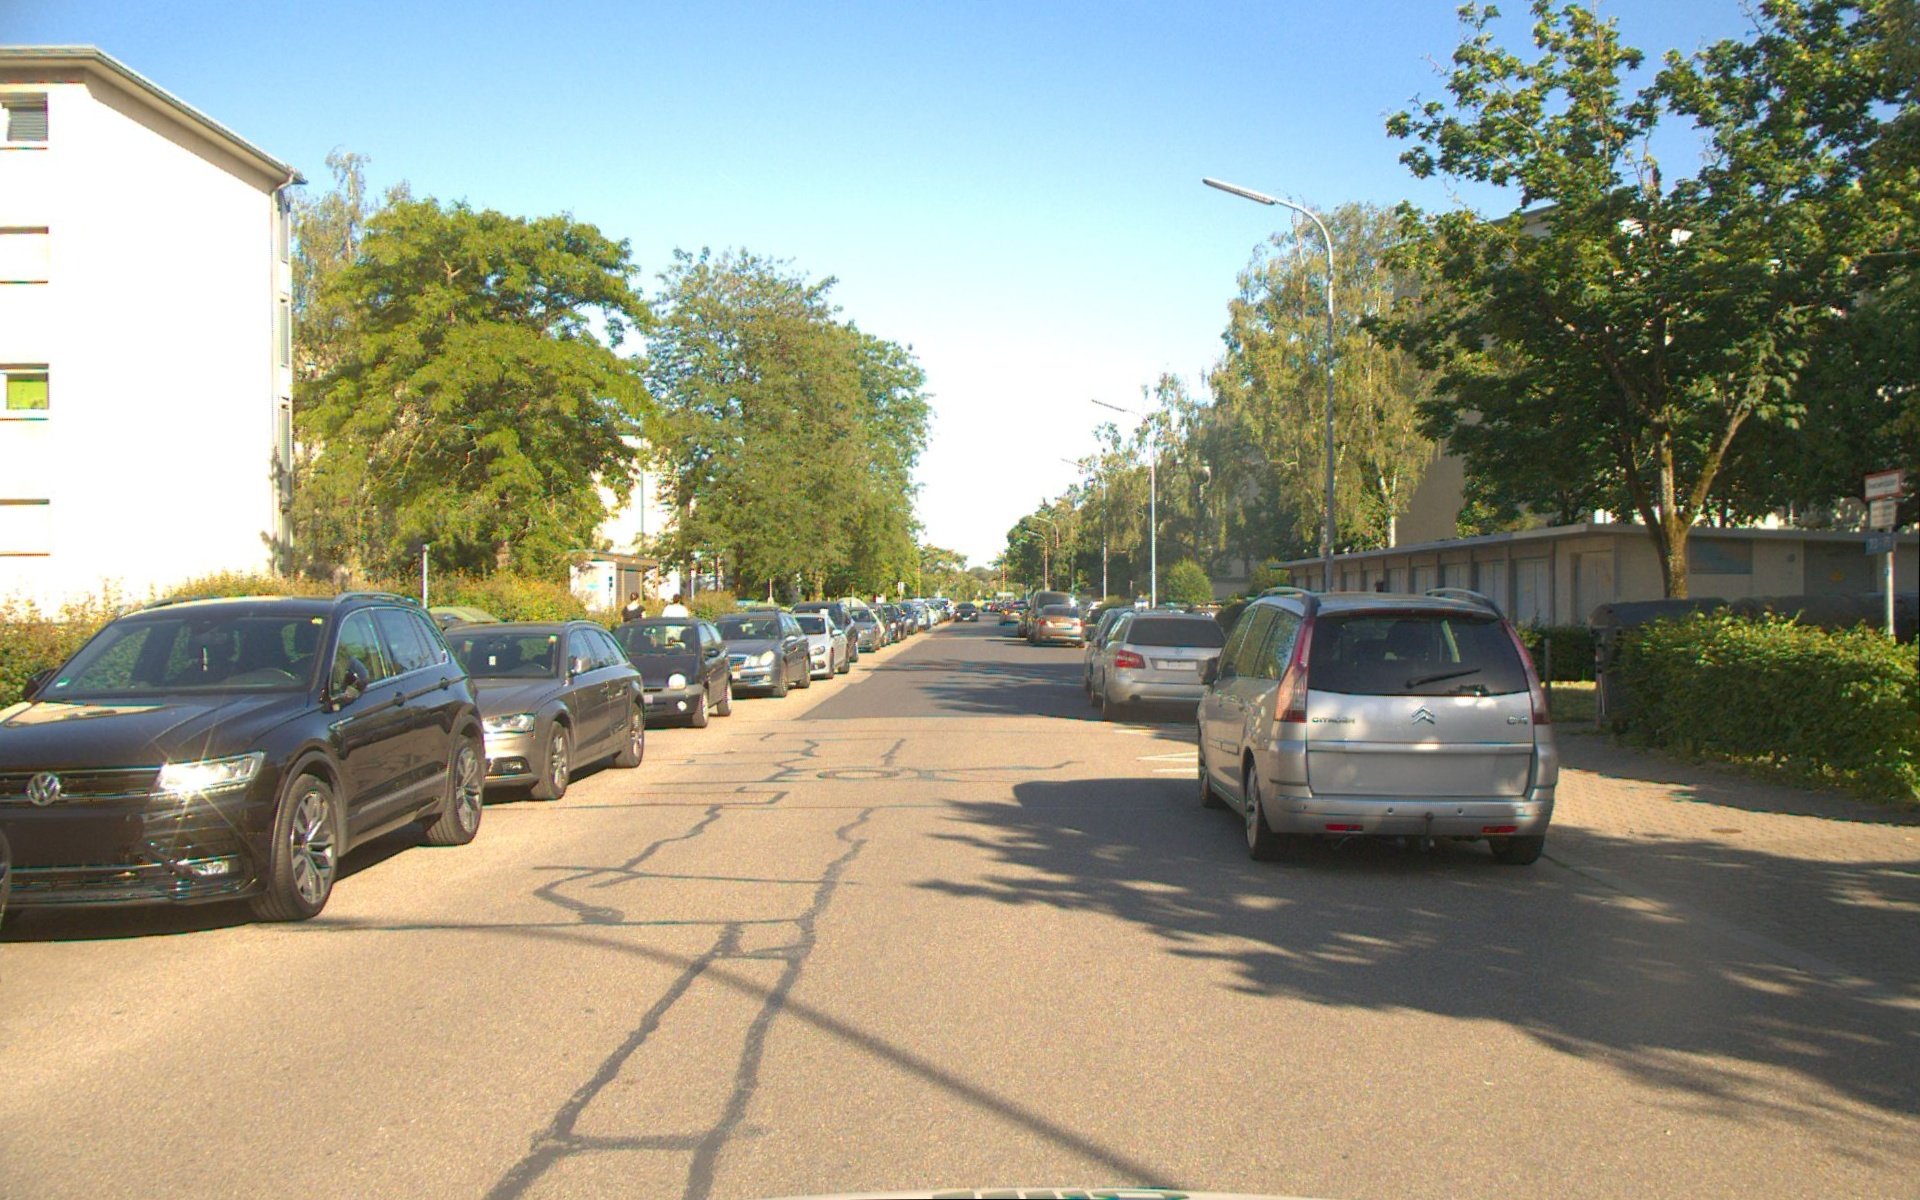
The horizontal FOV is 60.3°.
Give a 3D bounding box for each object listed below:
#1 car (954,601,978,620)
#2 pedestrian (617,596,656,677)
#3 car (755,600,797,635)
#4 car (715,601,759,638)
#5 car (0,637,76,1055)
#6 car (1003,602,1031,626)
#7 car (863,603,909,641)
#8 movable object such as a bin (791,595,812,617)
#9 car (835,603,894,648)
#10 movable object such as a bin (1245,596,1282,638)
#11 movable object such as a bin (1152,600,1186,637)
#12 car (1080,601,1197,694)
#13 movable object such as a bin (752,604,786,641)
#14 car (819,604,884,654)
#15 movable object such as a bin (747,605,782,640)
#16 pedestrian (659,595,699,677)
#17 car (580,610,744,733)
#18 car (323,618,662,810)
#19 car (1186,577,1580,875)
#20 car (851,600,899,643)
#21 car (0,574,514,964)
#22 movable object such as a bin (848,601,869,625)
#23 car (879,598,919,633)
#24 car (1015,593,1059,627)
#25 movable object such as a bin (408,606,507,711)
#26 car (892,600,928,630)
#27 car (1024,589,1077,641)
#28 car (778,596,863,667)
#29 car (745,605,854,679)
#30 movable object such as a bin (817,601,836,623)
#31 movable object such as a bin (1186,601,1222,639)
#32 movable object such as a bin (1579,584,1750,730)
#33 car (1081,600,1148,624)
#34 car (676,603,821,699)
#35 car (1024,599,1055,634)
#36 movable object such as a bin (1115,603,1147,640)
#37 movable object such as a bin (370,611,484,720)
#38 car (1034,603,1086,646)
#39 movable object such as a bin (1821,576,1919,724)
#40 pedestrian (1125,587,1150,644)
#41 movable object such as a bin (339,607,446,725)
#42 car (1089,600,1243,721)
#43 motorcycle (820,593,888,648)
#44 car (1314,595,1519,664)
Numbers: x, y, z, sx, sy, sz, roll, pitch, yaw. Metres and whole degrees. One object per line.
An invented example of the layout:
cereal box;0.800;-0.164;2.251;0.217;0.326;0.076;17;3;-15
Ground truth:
car;0.482;0.823;131.293;1.871;1.502;4.571;-1;0;0
pedestrian;-6.842;0.767;35.024;0.706;1.708;0.600;0;0;1
car;-8.430;0.780;76.137;1.538;1.552;3.999;1;0;-1
car;-10.330;0.893;76.767;1.538;1.669;3.999;1;0;-1
car;-4.005;0.864;4.028;1.605;1.409;4.168;-2;0;-3
car;3.900;0.937;113.234;1.646;1.540;4.103;1;0;-2
car;-3.173;0.920;71.617;1.718;1.506;4.537;-2;0;0
movable object such as a bin;-10.595;0.394;110.539;1.153;1.445;1.463;2;0;3
car;-3.437;0.904;60.431;1.718;1.506;3.960;-2;0;2
movable object such as a bin;11.517;0.640;62.849;1.249;1.491;1.134;0;3;4
movable object such as a bin;7.896;0.698;62.467;1.198;1.389;1.133;0;0;4
car;3.084;0.781;29.139;1.767;1.521;3.796;0;0;2
movable object such as a bin;-7.496;0.860;65.050;1.153;1.432;1.343;0;0;1
car;-3.447;0.898;53.287;1.718;1.445;4.269;-2;0;1
movable object such as a bin;-7.504;0.849;63.622;1.153;1.310;1.343;0;0;1
pedestrian;-5.876;0.749;34.598;0.706;1.708;0.616;0;0;1
car;-4.034;0.926;22.873;1.615;1.489;3.495;-2;0;0
car;-3.987;0.896;14.952;1.718;1.409;4.674;-2;-1;0
car;2.665;0.701;11.474;1.718;1.655;4.496;0;0;2
car;-3.377;0.845;66.541;1.718;1.601;3.719;-2;0;-1
car;-4.040;0.757;9.534;1.718;1.697;4.390;-2;0;0
movable object such as a bin;-6.307;0.811;102.487;1.112;1.407;1.442;2;0;2
car;-3.084;0.779;83.729;1.718;1.634;3.969;-2;0;1
car;3.572;0.458;77.620;1.697;1.516;4.499;-1;0;-2
movable object such as a bin;-7.279;0.827;24.036;0.981;1.440;1.326;3;0;-1
car;-2.813;0.838;94.220;1.864;1.668;4.349;-1;0;1
car;3.529;0.576;65.213;1.814;1.968;4.704;1;0;0
car;-3.542;0.784;42.692;1.718;1.664;4.370;-2;0;1
car;-3.437;0.881;36.128;1.718;1.450;4.211;-2;-1;3
movable object such as a bin;-9.228;0.831;114.146;1.111;1.445;1.361;2;0;2
movable object such as a bin;9.157;0.742;62.106;1.249;1.389;1.133;0;0;4
movable object such as a bin;7.569;0.593;17.831;1.299;1.453;1.069;-3;0;-5
car;10.295;0.787;110.338;4.324;1.540;1.829;-1;0;1
car;-3.747;0.880;30.094;1.718;1.516;4.902;-3;-1;3
car;4.076;0.828;85.069;1.458;1.748;2.583;1;0;0
movable object such as a bin;6.562;0.802;63.386;1.004;1.333;1.388;-3;-1;11
movable object such as a bin;-7.292;0.877;22.697;1.096;1.390;1.257;3;0;-1
car;3.553;0.849;59.371;1.763;1.443;4.637;1;0;2
movable object such as a bin;10.330;0.534;18.067;1.298;1.564;1.028;0;0;-5
pedestrian;6.070;0.532;56.612;0.688;1.921;0.872;-2;0;2
movable object such as a bin;-7.300;0.830;21.352;0.876;1.440;1.326;3;0;-1
car;2.872;0.787;23.936;1.793;1.573;4.642;0;0;2
motorcycle;-3.624;0.685;56.758;2.211;1.757;0.932;-3;0;-2
car;10.229;0.647;37.257;4.098;1.521;1.817;0;0;-2
